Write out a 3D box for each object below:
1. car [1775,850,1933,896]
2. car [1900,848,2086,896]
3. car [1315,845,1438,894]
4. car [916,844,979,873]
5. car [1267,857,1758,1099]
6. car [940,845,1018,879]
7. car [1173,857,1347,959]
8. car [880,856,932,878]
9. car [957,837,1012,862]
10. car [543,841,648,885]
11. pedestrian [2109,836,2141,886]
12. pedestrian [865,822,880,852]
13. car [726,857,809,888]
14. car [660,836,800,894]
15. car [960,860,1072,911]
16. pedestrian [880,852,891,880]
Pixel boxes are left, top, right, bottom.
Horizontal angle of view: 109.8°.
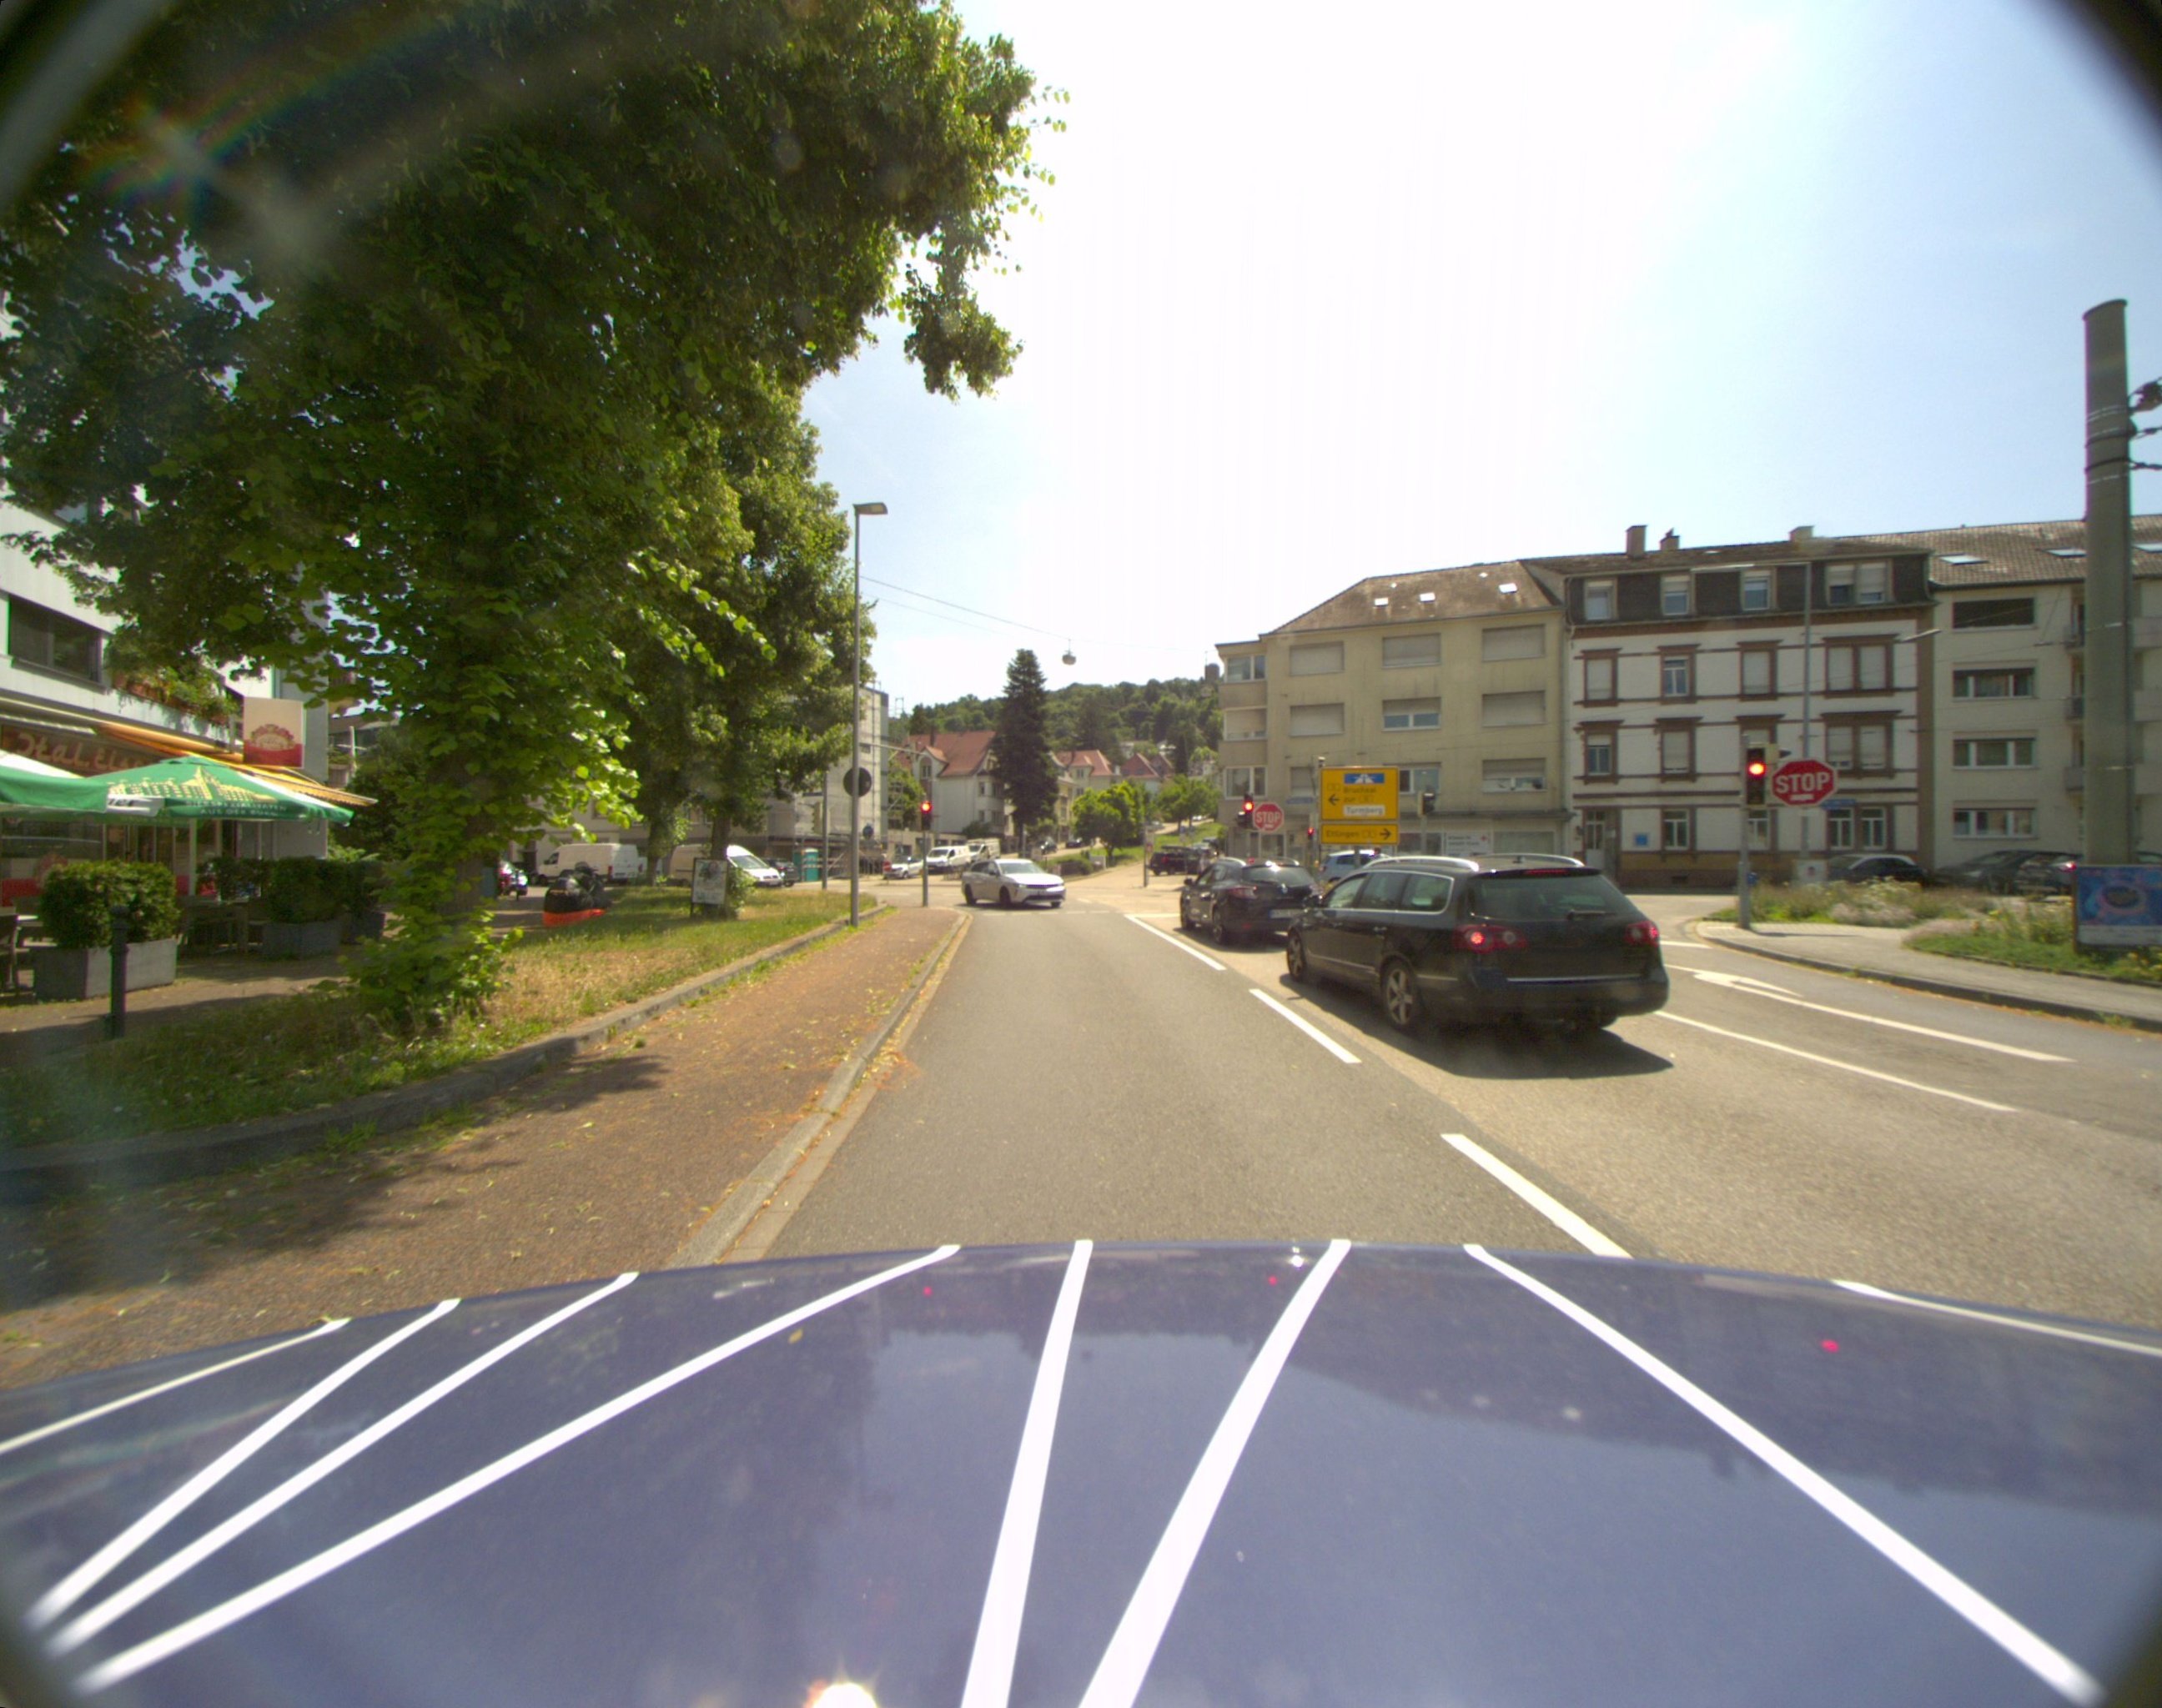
[{"bbox_3d":[29.400,0.715,29.041,3.753,1.576,2.001,-2,1,11],"label":"car"},{"bbox_3d":[33.702,0.646,28.218,4.064,1.576,2.001,-2,1,11],"label":"car"},{"bbox_3d":[10.661,0.556,27.723,3.992,1.609,1.762,-2,1,16],"label":"car"},{"bbox_3d":[-10.155,0.316,58.252,2.397,2.002,5.387,-2,1,19],"label":"car"},{"bbox_3d":[3.442,0.820,7.391,1.841,1.482,4.810,-1,1,-3],"label":"car"},{"bbox_3d":[-6.550,0.464,49.708,2.397,2.002,6.381,-2,1,19],"label":"car"},{"bbox_3d":[3.066,0.848,13.982,1.841,1.482,4.125,-2,1,-5],"label":"car"},{"bbox_3d":[-12.074,0.888,52.704,1.529,1.361,4.161,-2,1,19],"label":"car"},{"bbox_3d":[-8.116,-0.407,64.591,2.397,2.002,5.387,-2,1,19],"label":"car"},{"bbox_3d":[-28.883,0.506,45.231,5.433,2.396,2.260,-2,1,19],"label":"car"},{"bbox_3d":[39.308,0.254,28.600,0.556,1.846,0.428,-2,1,15],"label":"pedestrian"},{"bbox_3d":[-14.207,-1.148,51.799,0.625,2.002,0.706,-2,1,16],"label":"pedestrian"},{"bbox_3d":[-16.907,0.980,41.000,3.829,1.521,1.767,-2,1,18],"label":"car"},{"bbox_3d":[-15.233,0.477,33.048,5.434,2.258,2.002,-2,1,16],"label":"car"},{"bbox_3d":[-2.104,0.888,23.303,1.822,1.371,4.382,-1,0,-28],"label":"car"},{"bbox_3d":[-14.172,0.845,55.076,0.706,2.002,0.625,-2,1,-12],"label":"pedestrian"}]
